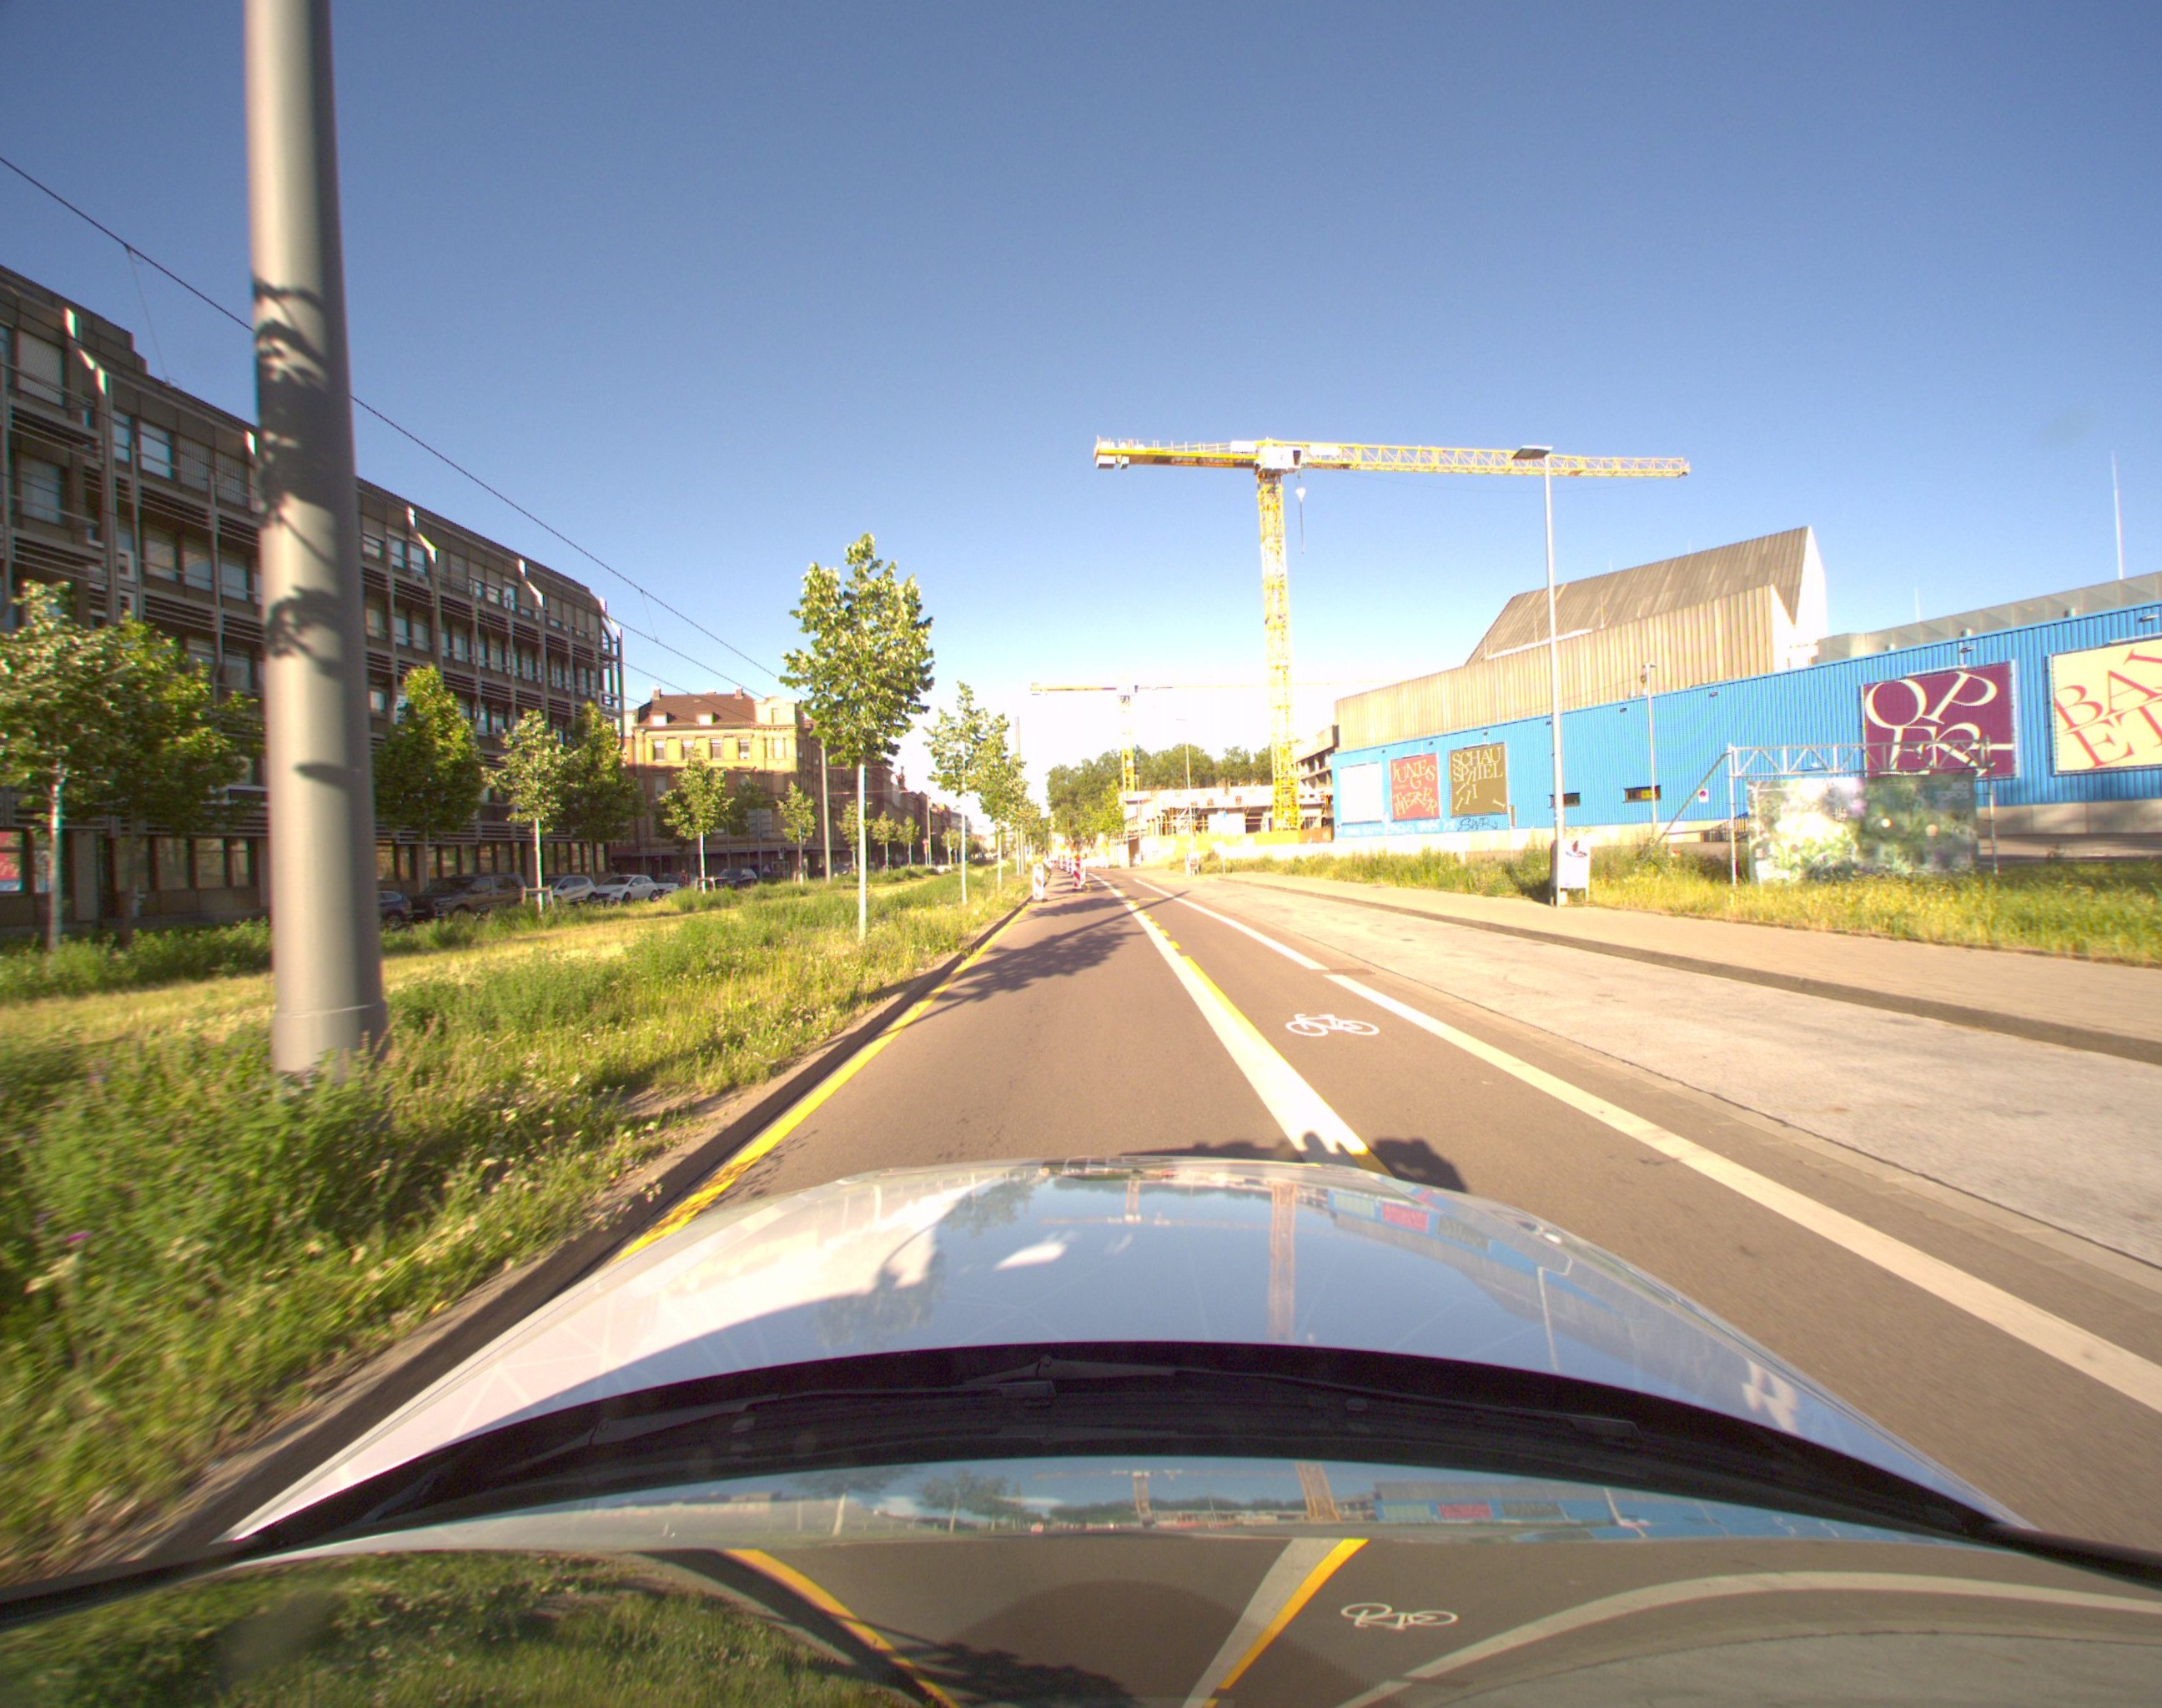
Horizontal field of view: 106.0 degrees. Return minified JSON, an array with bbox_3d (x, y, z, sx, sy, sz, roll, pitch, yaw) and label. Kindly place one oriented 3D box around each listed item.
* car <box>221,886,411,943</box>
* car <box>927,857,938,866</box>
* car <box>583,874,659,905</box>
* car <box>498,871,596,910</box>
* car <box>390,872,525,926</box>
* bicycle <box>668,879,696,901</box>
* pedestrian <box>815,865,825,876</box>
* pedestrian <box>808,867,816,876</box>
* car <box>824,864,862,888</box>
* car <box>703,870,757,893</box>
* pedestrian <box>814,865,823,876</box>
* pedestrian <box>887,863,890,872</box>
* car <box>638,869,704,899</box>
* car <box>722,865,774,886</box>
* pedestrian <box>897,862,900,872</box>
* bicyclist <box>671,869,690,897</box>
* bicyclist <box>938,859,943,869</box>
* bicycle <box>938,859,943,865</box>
[{"bbox_3d":[-24.073,1.843,25.906,1.723,1.469,4.505,-1,0,1],"label":"car"},{"bbox_3d":[-28.926,1.423,158.615,1.564,1.562,4.705,-2,0,-6],"label":"car"},{"bbox_3d":[-23.613,1.799,41.961,1.618,1.441,3.821,-1,0,2],"label":"car"},{"bbox_3d":[-23.923,1.611,36.671,1.731,1.536,3.886,-1,0,2],"label":"car"},{"bbox_3d":[-23.889,1.668,31.444,1.744,1.771,4.333,-1,0,2],"label":"car"},{"bbox_3d":[-21.348,1.911,43.579,0.563,1.096,1.771,-3,0,1],"label":"bicycle"},{"bbox_3d":[-30.013,1.907,93.639,0.790,1.208,0.928,-2,-1,-5],"label":"pedestrian"},{"bbox_3d":[-30.536,1.980,92.468,0.689,1.059,0.734,-2,-1,-5],"label":"pedestrian"},{"bbox_3d":[-19.018,1.715,65.221,1.722,1.746,4.121,-2,0,0],"label":"car"},{"bbox_3d":[-23.876,1.864,55.547,1.723,1.461,3.904,0,0,4],"label":"car"},{"bbox_3d":[-29.491,1.834,91.454,0.689,1.246,0.928,-2,-1,-5],"label":"pedestrian"},{"bbox_3d":[-32.217,2.290,136.050,0.403,1.585,0.425,0,-1,-6],"label":"pedestrian"},{"bbox_3d":[-23.827,1.695,47.527,1.642,1.554,3.969,-2,0,3],"label":"car"},{"bbox_3d":[-33.509,2.130,82.074,4.510,1.903,1.892,-2,0,-10],"label":"car"},{"bbox_3d":[-33.114,2.362,147.776,0.366,1.765,0.405,0,-1,-6],"label":"pedestrian"},{"bbox_3d":[-21.366,1.541,43.463,0.563,1.457,0.706,-3,0,1],"label":"bicyclist"},{"bbox_3d":[-24.490,1.721,141.922,0.694,1.657,0.881,-2,-1,-5],"label":"bicyclist"},{"bbox_3d":[-24.450,1.415,141.458,0.694,0.978,1.824,-2,-1,-4],"label":"bicycle"}]
